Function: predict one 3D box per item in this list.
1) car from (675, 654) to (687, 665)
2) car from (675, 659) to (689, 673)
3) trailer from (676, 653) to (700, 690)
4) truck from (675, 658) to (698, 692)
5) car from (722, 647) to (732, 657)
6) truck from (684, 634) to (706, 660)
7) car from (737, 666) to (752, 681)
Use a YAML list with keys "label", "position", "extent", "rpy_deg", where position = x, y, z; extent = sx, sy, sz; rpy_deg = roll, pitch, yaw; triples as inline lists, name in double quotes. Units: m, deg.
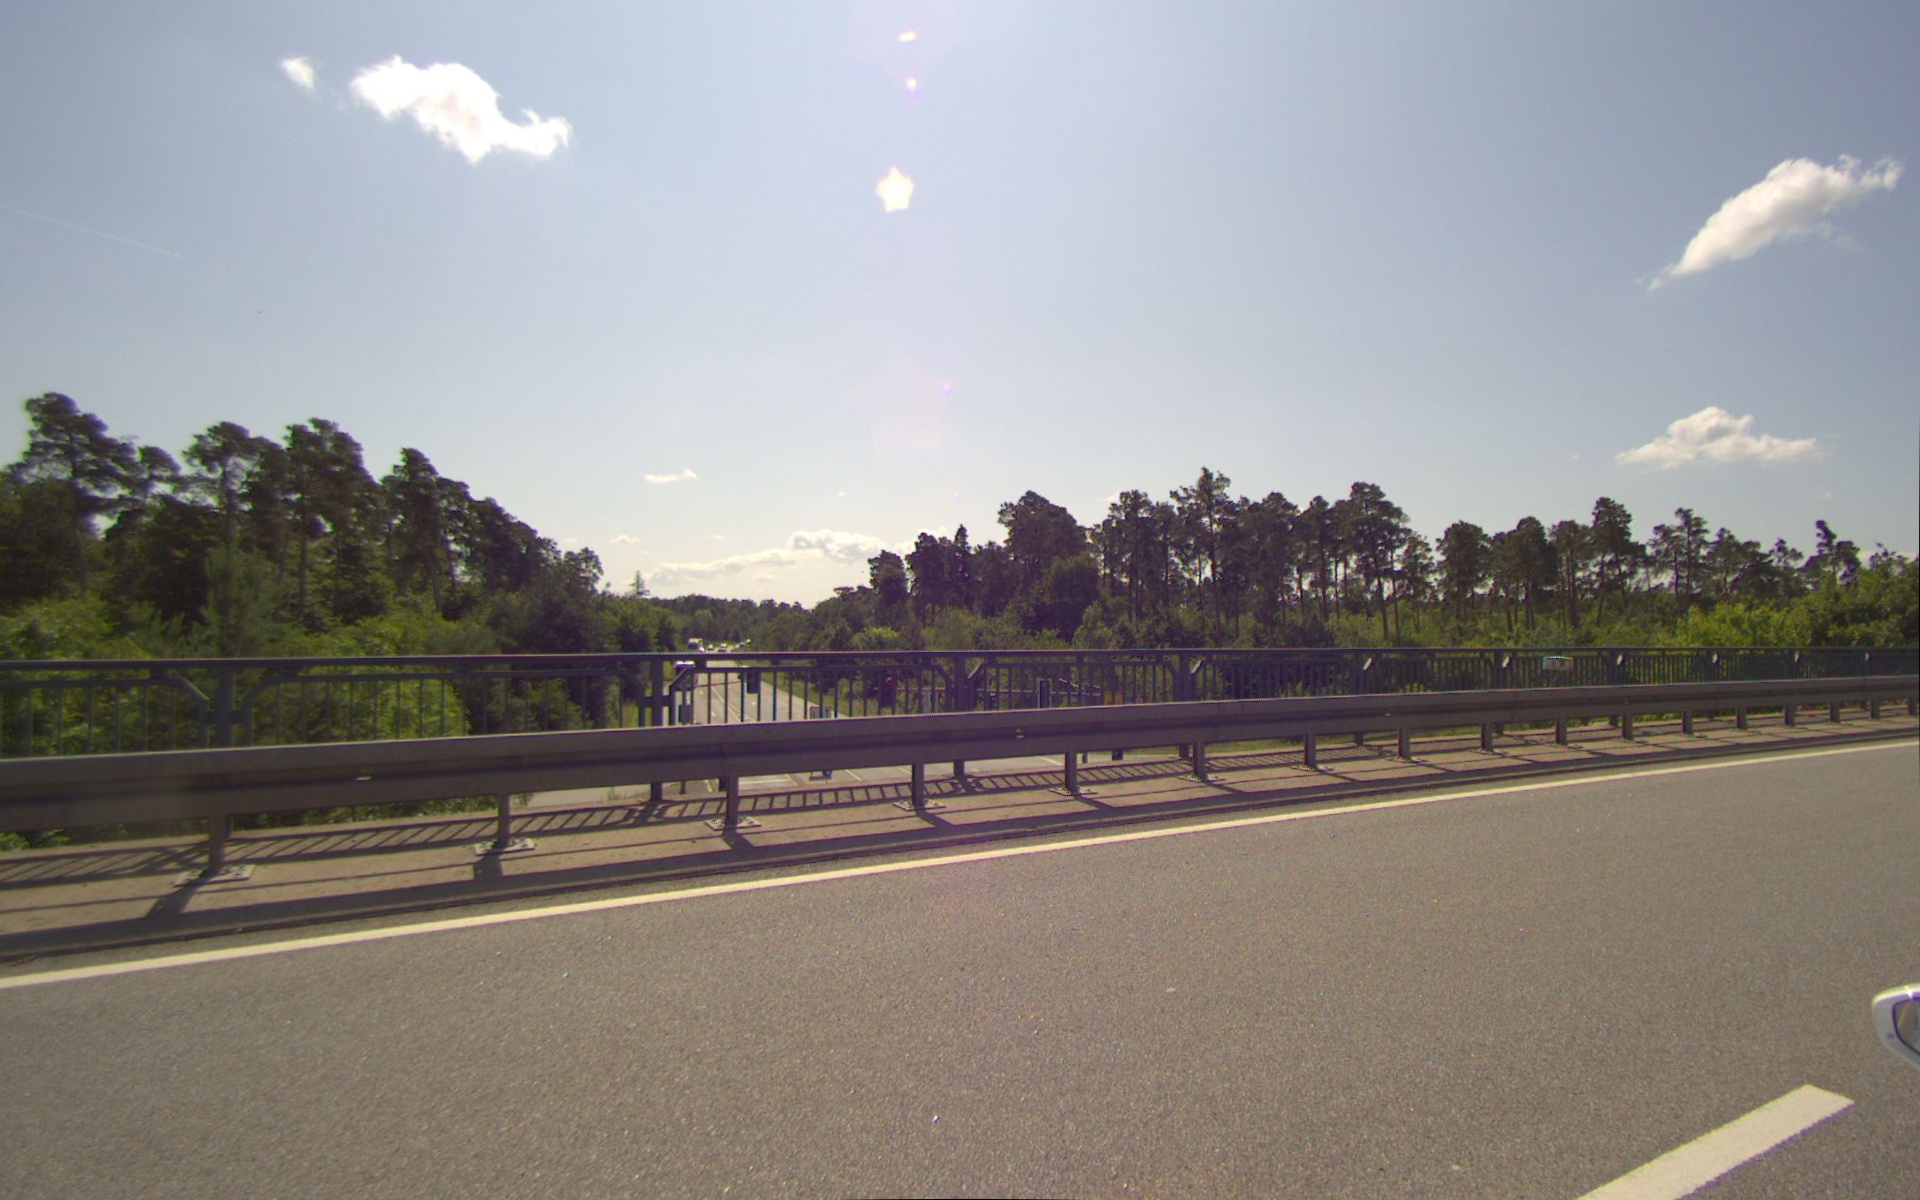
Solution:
- label: "car"
  position: [-57.986, 12.379, 208.897]
  extent: [2.106, 1.913, 4.805]
  rpy_deg: [2, 0, -13]
- label: "car"
  position: [-46.325, 10.975, 167.479]
  extent: [2.106, 1.913, 4.805]
  rpy_deg: [2, 0, -13]
- label: "trailer"
  position: [-37.501, 9.779, 138.995]
  extent: [2.570, 4.056, 14.351]
  rpy_deg: [2, 0, -13]
- label: "truck"
  position: [-35.839, 9.811, 131.927]
  extent: [2.570, 4.056, 5.325]
  rpy_deg: [2, 0, -13]
- label: "car"
  position: [-56.231, 12.595, 242.505]
  extent: [2.106, 1.913, 4.805]
  rpy_deg: [2, 0, -13]
- label: "truck"
  position: [-61.549, 10.847, 233.808]
  extent: [3.559, 4.972, 14.618]
  rpy_deg: [2, 0, -10]
- label: "car"
  position: [-33.507, 11.398, 156.065]
  extent: [2.106, 1.913, 4.805]
  rpy_deg: [2, 0, -13]
